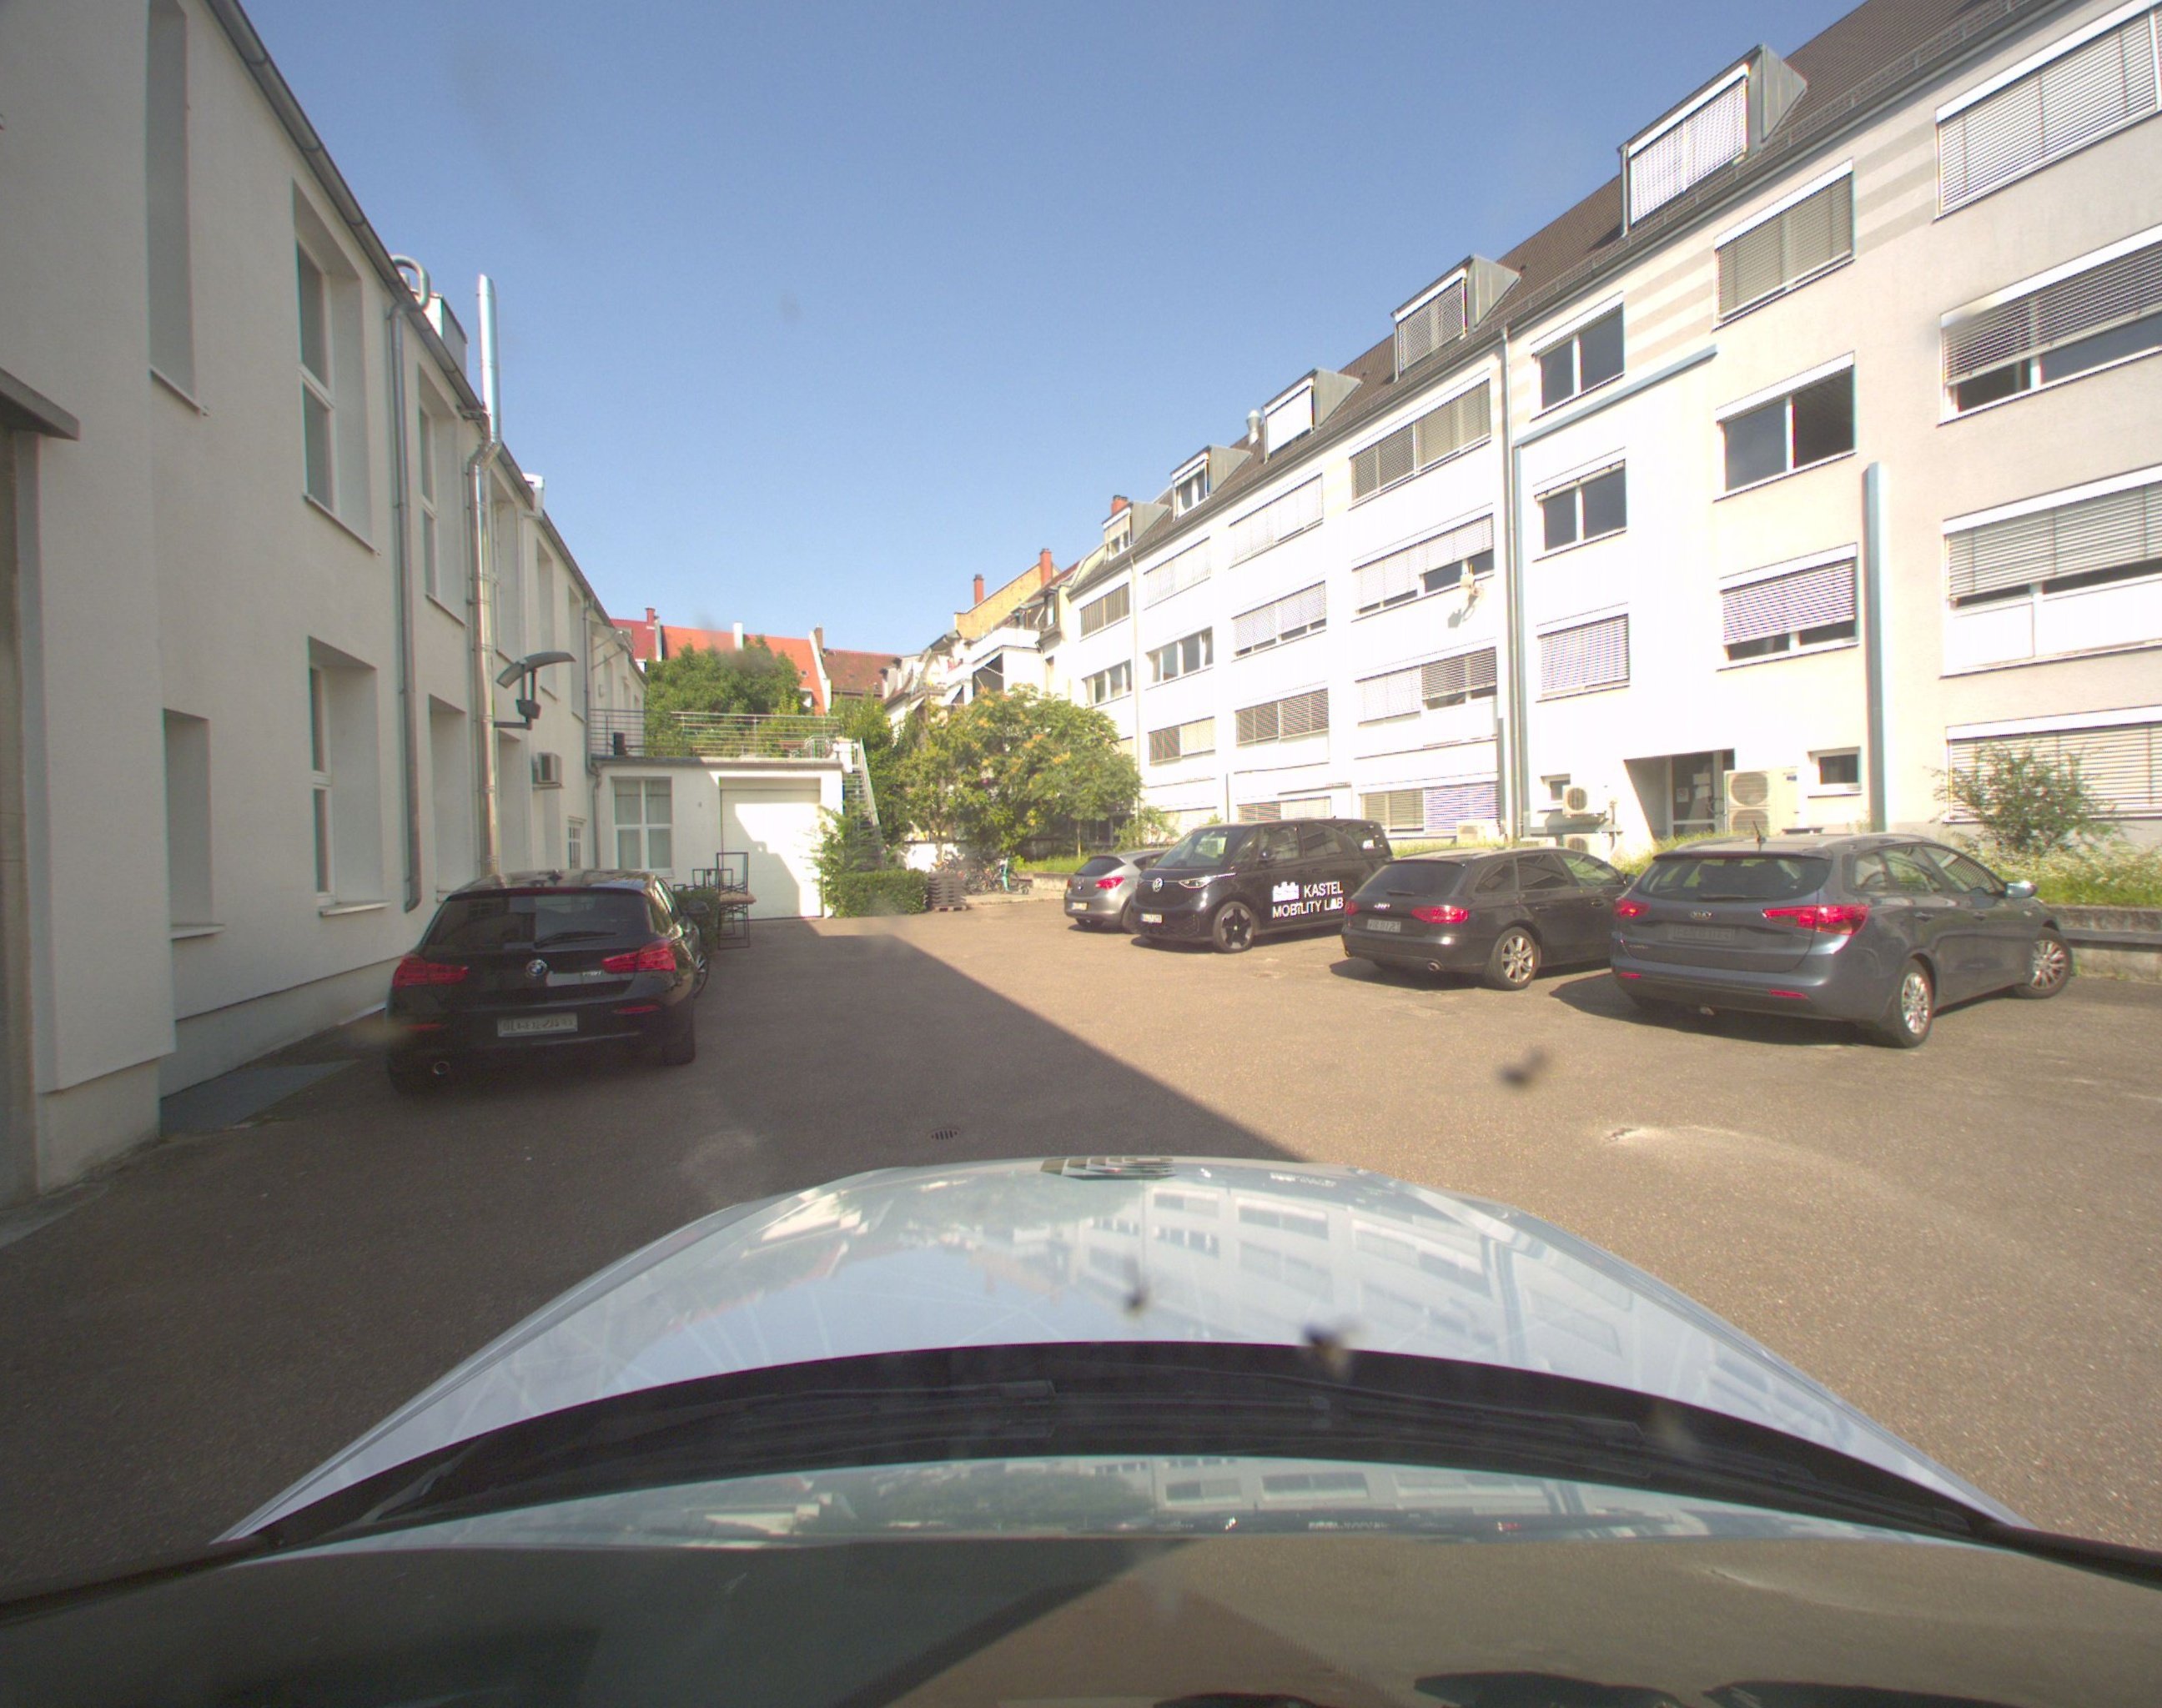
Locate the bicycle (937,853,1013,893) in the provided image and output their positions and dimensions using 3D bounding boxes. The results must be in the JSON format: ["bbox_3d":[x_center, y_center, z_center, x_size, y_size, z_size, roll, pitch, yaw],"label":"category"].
[{"bbox_3d":[-3.460,0.600,26.664,2.421,1.246,0.522,-1,0,-23],"label":"bicycle"}]

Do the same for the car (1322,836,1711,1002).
[{"bbox_3d":[5.012,0.589,9.310,4.253,1.437,1.677,-2,1,-25],"label":"car"}]

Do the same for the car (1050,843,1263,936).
[{"bbox_3d":[1.510,0.587,15.610,3.927,1.466,1.645,-3,1,-36],"label":"car"}]

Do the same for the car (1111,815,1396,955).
[{"bbox_3d":[2.839,0.369,13.068,4.365,1.858,1.895,-3,1,-32],"label":"car"}]

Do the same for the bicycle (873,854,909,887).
[{"bbox_3d":[-7.318,0.622,31.512,0.485,1.143,2.001,-2,2,13],"label":"bicycle"}]

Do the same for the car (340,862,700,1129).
[{"bbox_3d":[-4.209,0.818,6.834,1.802,1.428,4.102,-1,0,-25],"label":"car"}]

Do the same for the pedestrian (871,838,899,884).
[{"bbox_3d":[-7.568,0.263,31.502,0.852,1.771,0.613,-1,0,12],"label":"pedestrian"}]

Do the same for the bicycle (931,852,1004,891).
[{"bbox_3d":[-3.877,0.590,27.880,2.421,1.246,0.522,-1,0,-23],"label":"bicycle"}]

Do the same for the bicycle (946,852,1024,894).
[{"bbox_3d":[-3.040,0.591,25.940,2.421,1.246,0.522,-1,0,-23],"label":"bicycle"}]

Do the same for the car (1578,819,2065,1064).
[{"bbox_3d":[6.284,0.510,6.852,4.069,1.478,1.727,-2,1,-27],"label":"car"}]

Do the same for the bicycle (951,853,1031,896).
[{"bbox_3d":[-2.777,0.615,25.325,2.421,1.246,0.522,-1,0,-23],"label":"bicycle"}]

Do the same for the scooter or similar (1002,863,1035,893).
[{"bbox_3d":[-1.946,0.742,25.255,0.987,0.924,0.362,-1,0,30],"label":"scooter or similar"}]

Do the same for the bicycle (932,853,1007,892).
[{"bbox_3d":[-3.727,0.604,27.269,2.421,1.246,0.522,-1,0,-23],"label":"bicycle"}]
